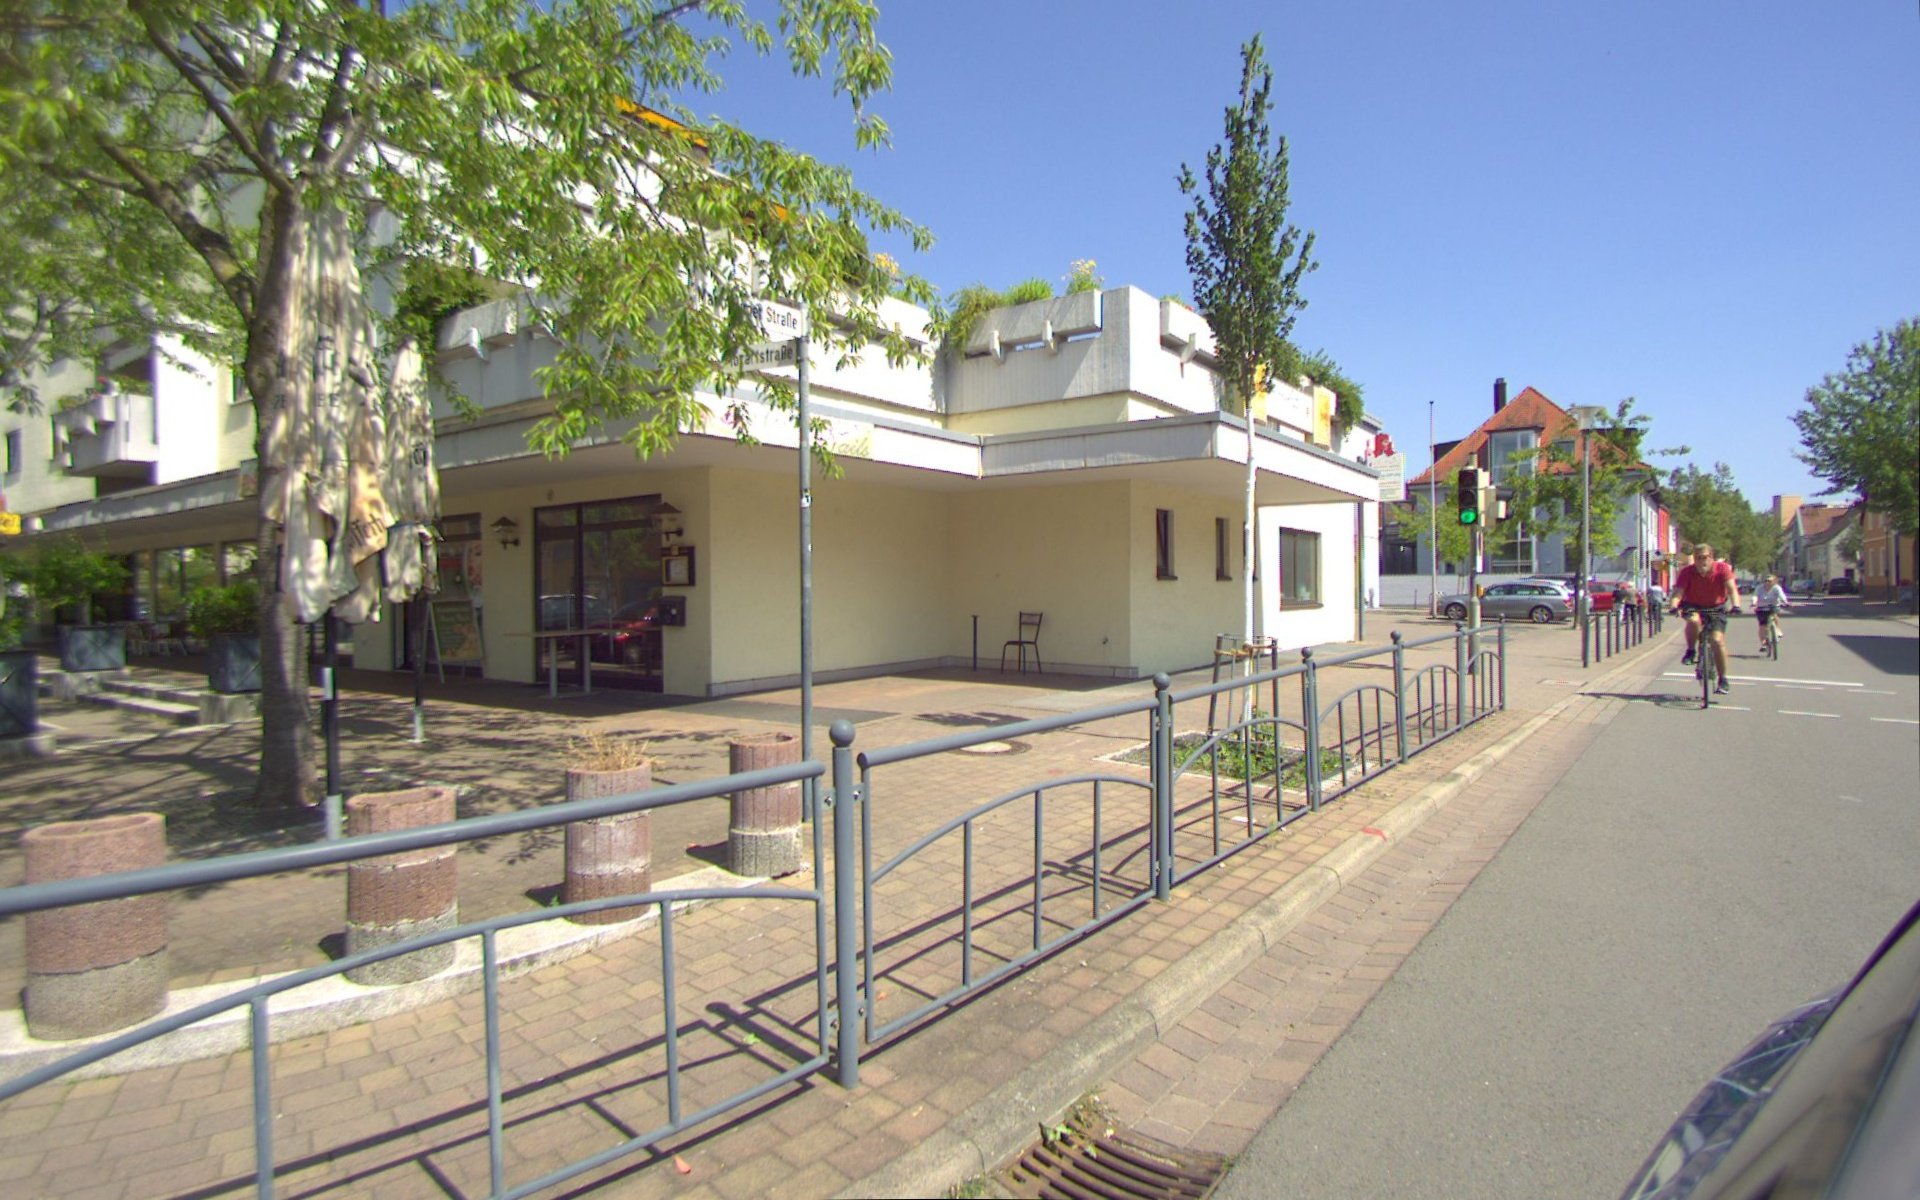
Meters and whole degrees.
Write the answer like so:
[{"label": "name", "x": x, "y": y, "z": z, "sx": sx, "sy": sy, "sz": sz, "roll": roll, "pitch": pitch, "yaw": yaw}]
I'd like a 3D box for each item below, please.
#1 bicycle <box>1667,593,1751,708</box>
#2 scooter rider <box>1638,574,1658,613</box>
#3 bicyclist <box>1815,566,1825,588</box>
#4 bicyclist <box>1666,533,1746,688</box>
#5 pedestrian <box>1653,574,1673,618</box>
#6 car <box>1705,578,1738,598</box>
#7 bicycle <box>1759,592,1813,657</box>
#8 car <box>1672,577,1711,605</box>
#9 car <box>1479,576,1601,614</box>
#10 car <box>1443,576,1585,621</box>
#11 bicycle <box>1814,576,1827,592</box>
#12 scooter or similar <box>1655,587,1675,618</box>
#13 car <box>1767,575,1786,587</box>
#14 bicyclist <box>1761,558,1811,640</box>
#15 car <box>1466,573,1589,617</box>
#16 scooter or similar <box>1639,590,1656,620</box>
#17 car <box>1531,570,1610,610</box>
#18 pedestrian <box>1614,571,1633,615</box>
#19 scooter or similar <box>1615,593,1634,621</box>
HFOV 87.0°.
[{"label": "bicycle", "x": 8.793, "y": 0.542, "z": 11.939, "sx": 0.733, "sy": 1.204, "sz": 1.946, "roll": -1, "pitch": 1, "yaw": 35}, {"label": "scooter rider", "x": 24.200, "y": -0.236, "z": 35.595, "sx": 0.461, "sy": 1.341, "sz": 1.117, "roll": 0, "pitch": 1, "yaw": 40}, {"label": "bicyclist", "x": 65.324, "y": -1.780, "z": 76.856, "sx": 0.536, "sy": 1.660, "sz": 0.544, "roll": 0, "pitch": 1, "yaw": 38}, {"label": "bicyclist", "x": 8.726, "y": 0.113, "z": 11.860, "sx": 0.699, "sy": 1.738, "sz": 0.750, "roll": -1, "pitch": 0, "yaw": 36}, {"label": "pedestrian", "x": 25.304, "y": -0.151, "z": 36.405, "sx": 0.510, "sy": 1.535, "sz": 1.034, "roll": 1, "pitch": 1, "yaw": 38}, {"label": "car", "x": 51.497, "y": -0.833, "z": 68.510, "sx": 1.520, "sy": 1.322, "sz": 3.212, "roll": 2, "pitch": 2, "yaw": 33}, {"label": "bicycle", "x": 16.511, "y": 0.453, "z": 20.257, "sx": 0.686, "sy": 1.204, "sz": 1.777, "roll": 1, "pitch": 2, "yaw": 35}, {"label": "car", "x": 38.777, "y": -0.493, "z": 53.676, "sx": 1.520, "sy": 1.471, "sz": 3.480, "roll": 0, "pitch": 1, "yaw": 33}, {"label": "car", "x": 24.732, "y": -0.249, "z": 43.264, "sx": 4.413, "sy": 1.460, "sz": 1.638, "roll": 2, "pitch": 2, "yaw": 32}, {"label": "car", "x": 20.063, "y": -0.108, "z": 36.714, "sx": 4.416, "sy": 1.483, "sz": 1.670, "roll": 2, "pitch": 3, "yaw": 34}, {"label": "bicycle", "x": 65.372, "y": -1.235, "z": 76.878, "sx": 0.591, "sy": 1.204, "sz": 1.703, "roll": -1, "pitch": 1, "yaw": 37}, {"label": "scooter or similar", "x": 25.891, "y": 0.084, "z": 37.162, "sx": 0.503, "sy": 1.132, "sz": 0.896, "roll": 1, "pitch": 1, "yaw": 39}, {"label": "car", "x": 120.942, "y": -2.862, "z": 149.925, "sx": 1.989, "sy": 1.727, "sz": 3.946, "roll": 1, "pitch": 1, "yaw": 38}, {"label": "bicyclist", "x": 16.595, "y": -0.032, "z": 20.349, "sx": 0.699, "sy": 1.601, "sz": 0.867, "roll": -1, "pitch": 1, "yaw": 36}, {"label": "car", "x": 21.817, "y": -0.235, "z": 38.932, "sx": 4.018, "sy": 1.579, "sz": 1.693, "roll": 2, "pitch": 2, "yaw": 33}, {"label": "scooter or similar", "x": 24.182, "y": 0.174, "z": 35.593, "sx": 0.410, "sy": 0.976, "sz": 0.946, "roll": 0, "pitch": 5, "yaw": 41}, {"label": "car", "x": 28.047, "y": -0.479, "z": 46.522, "sx": 3.021, "sy": 1.759, "sz": 1.329, "roll": 2, "pitch": 2, "yaw": 34}, {"label": "pedestrian", "x": 23.180, "y": -0.236, "z": 35.370, "sx": 0.528, "sy": 1.520, "sz": 0.715, "roll": 0, "pitch": 1, "yaw": 35}, {"label": "scooter or similar", "x": 23.528, "y": 0.238, "z": 35.840, "sx": 0.533, "sy": 0.957, "sz": 0.540, "roll": 0, "pitch": 1, "yaw": 36}]
